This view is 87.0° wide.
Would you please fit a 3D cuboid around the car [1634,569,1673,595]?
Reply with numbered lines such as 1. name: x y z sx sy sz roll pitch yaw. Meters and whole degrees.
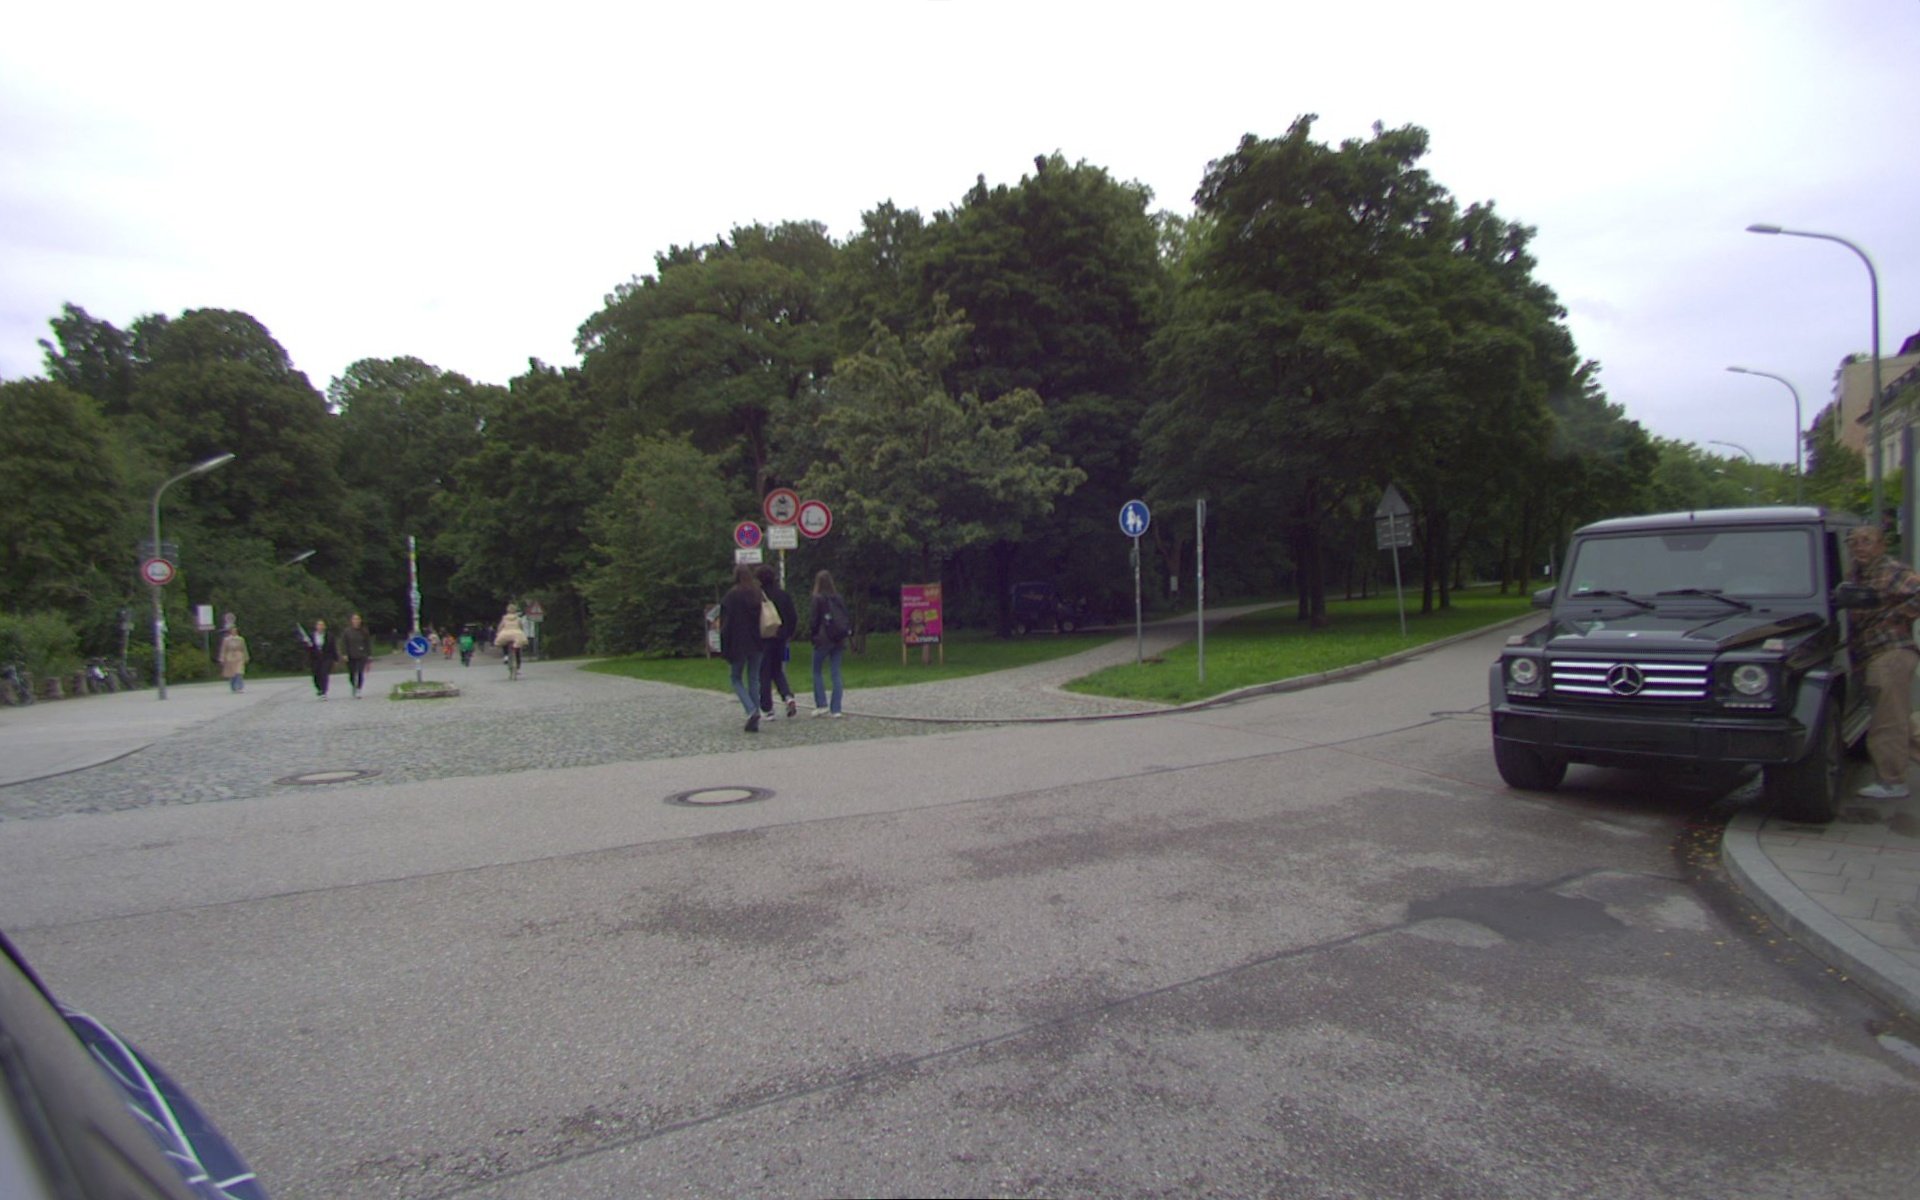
1. car: 39.253 -1.017 57.251 1.752 1.400 3.815 0 1 36

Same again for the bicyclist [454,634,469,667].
1. bicyclist: -21.441 2.152 43.525 0.554 1.385 0.764 -1 -2 -29

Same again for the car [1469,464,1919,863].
1. car: 5.516 0.266 7.319 4.354 2.016 1.938 -2 1 -44

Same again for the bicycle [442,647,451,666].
1. bicycle: -32.848 3.587 64.702 0.456 1.067 1.767 -1 2 -29

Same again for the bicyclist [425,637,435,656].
1. bicyclist: -37.016 3.237 70.681 0.554 1.275 0.764 -1 2 -29

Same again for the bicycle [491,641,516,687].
1. bicycle: -11.309 1.556 25.063 0.475 1.049 1.952 -1 -1 -26

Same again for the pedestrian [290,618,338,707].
1. pedestrian: -12.860 1.248 20.165 0.674 1.685 0.776 -3 -2 -28

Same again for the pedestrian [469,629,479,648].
1. pedestrian: -44.110 3.515 91.889 0.730 1.685 0.924 -3 -2 -28

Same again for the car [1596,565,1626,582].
1. car: 55.898 -2.261 86.862 1.745 1.400 3.921 0 1 39

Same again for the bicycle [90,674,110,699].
1. bicycle: -24.526 2.458 28.858 0.212 0.681 0.912 0 -3 -26

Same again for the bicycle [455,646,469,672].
1. bicycle: -21.411 2.524 43.513 0.456 1.068 1.767 -1 -2 -29

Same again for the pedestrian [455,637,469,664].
1. pedestrian: -32.014 3.266 65.091 0.674 1.685 0.776 -3 -2 -28

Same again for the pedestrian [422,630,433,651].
1. pedestrian: -43.357 3.310 82.368 0.674 1.685 0.776 -3 -2 -28

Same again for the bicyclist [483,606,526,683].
1. bicyclist: -11.198 1.083 24.872 0.842 1.816 0.769 -2 0 -29

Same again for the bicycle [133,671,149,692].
1. bicycle: -26.623 2.652 32.897 0.238 0.662 0.912 0 -3 -28

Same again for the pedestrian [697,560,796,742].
1. pedestrian: -2.323 0.539 10.927 0.739 1.847 1.118 0 -3 -29

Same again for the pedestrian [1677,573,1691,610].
1. pedestrian: 32.643 -0.391 45.643 0.471 1.642 0.751 0 1 31

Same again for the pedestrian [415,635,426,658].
1. pedestrian: -41.040 3.507 76.971 0.674 1.685 0.776 -3 -2 -28

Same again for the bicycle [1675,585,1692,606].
1. bicycle: 32.648 -0.229 45.653 0.481 0.915 1.614 0 1 31

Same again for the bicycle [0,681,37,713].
1. bicycle: -21.132 2.176 22.720 0.212 0.681 0.912 0 -3 -17

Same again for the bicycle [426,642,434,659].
1. bicycle: -37.044 3.526 70.736 0.456 1.067 1.767 -1 2 -29

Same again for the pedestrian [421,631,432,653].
1. pedestrian: -42.094 3.344 79.850 0.674 1.685 0.776 -3 -2 -28

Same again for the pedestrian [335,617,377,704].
1. pedestrian: -12.291 1.234 20.610 0.628 1.685 0.776 -3 -2 -28

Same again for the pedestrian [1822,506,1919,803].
1. pedestrian: 6.085 0.332 6.414 0.552 1.812 0.641 -2 -2 -11

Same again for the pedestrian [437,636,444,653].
1. pedestrian: -40.778 3.503 79.501 0.463 1.275 0.449 -1 2 -29

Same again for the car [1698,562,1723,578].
1. car: 66.517 -2.644 89.690 1.752 1.400 3.815 0 1 36

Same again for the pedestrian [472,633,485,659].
1. pedestrian: -33.176 3.160 69.759 0.674 1.685 0.776 -3 -2 -28

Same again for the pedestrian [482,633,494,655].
1. pedestrian: -36.458 3.410 78.152 0.674 1.685 0.776 -3 -2 -28

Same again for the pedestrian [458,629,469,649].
1. pedestrian: -44.867 3.533 91.483 0.730 1.685 0.924 -3 -2 -28

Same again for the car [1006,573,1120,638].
1. car: 3.673 0.181 36.615 3.915 2.120 1.904 -2 1 2

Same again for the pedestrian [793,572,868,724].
1. pedestrian: -1.595 0.579 12.411 0.624 1.795 0.804 0 -3 -29

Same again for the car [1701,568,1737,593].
1. car: 45.632 -1.203 60.919 1.625 1.431 3.748 0 1 35

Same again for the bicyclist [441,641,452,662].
1. bicyclist: -32.820 3.306 64.667 0.554 1.275 0.764 -1 2 -29

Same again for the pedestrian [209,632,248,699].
1. pedestrian: -19.388 1.732 26.848 0.643 1.699 0.978 -3 -2 -28

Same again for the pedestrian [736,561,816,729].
1. pedestrian: -2.213 0.528 12.121 0.696 1.918 0.806 0 -3 -29
